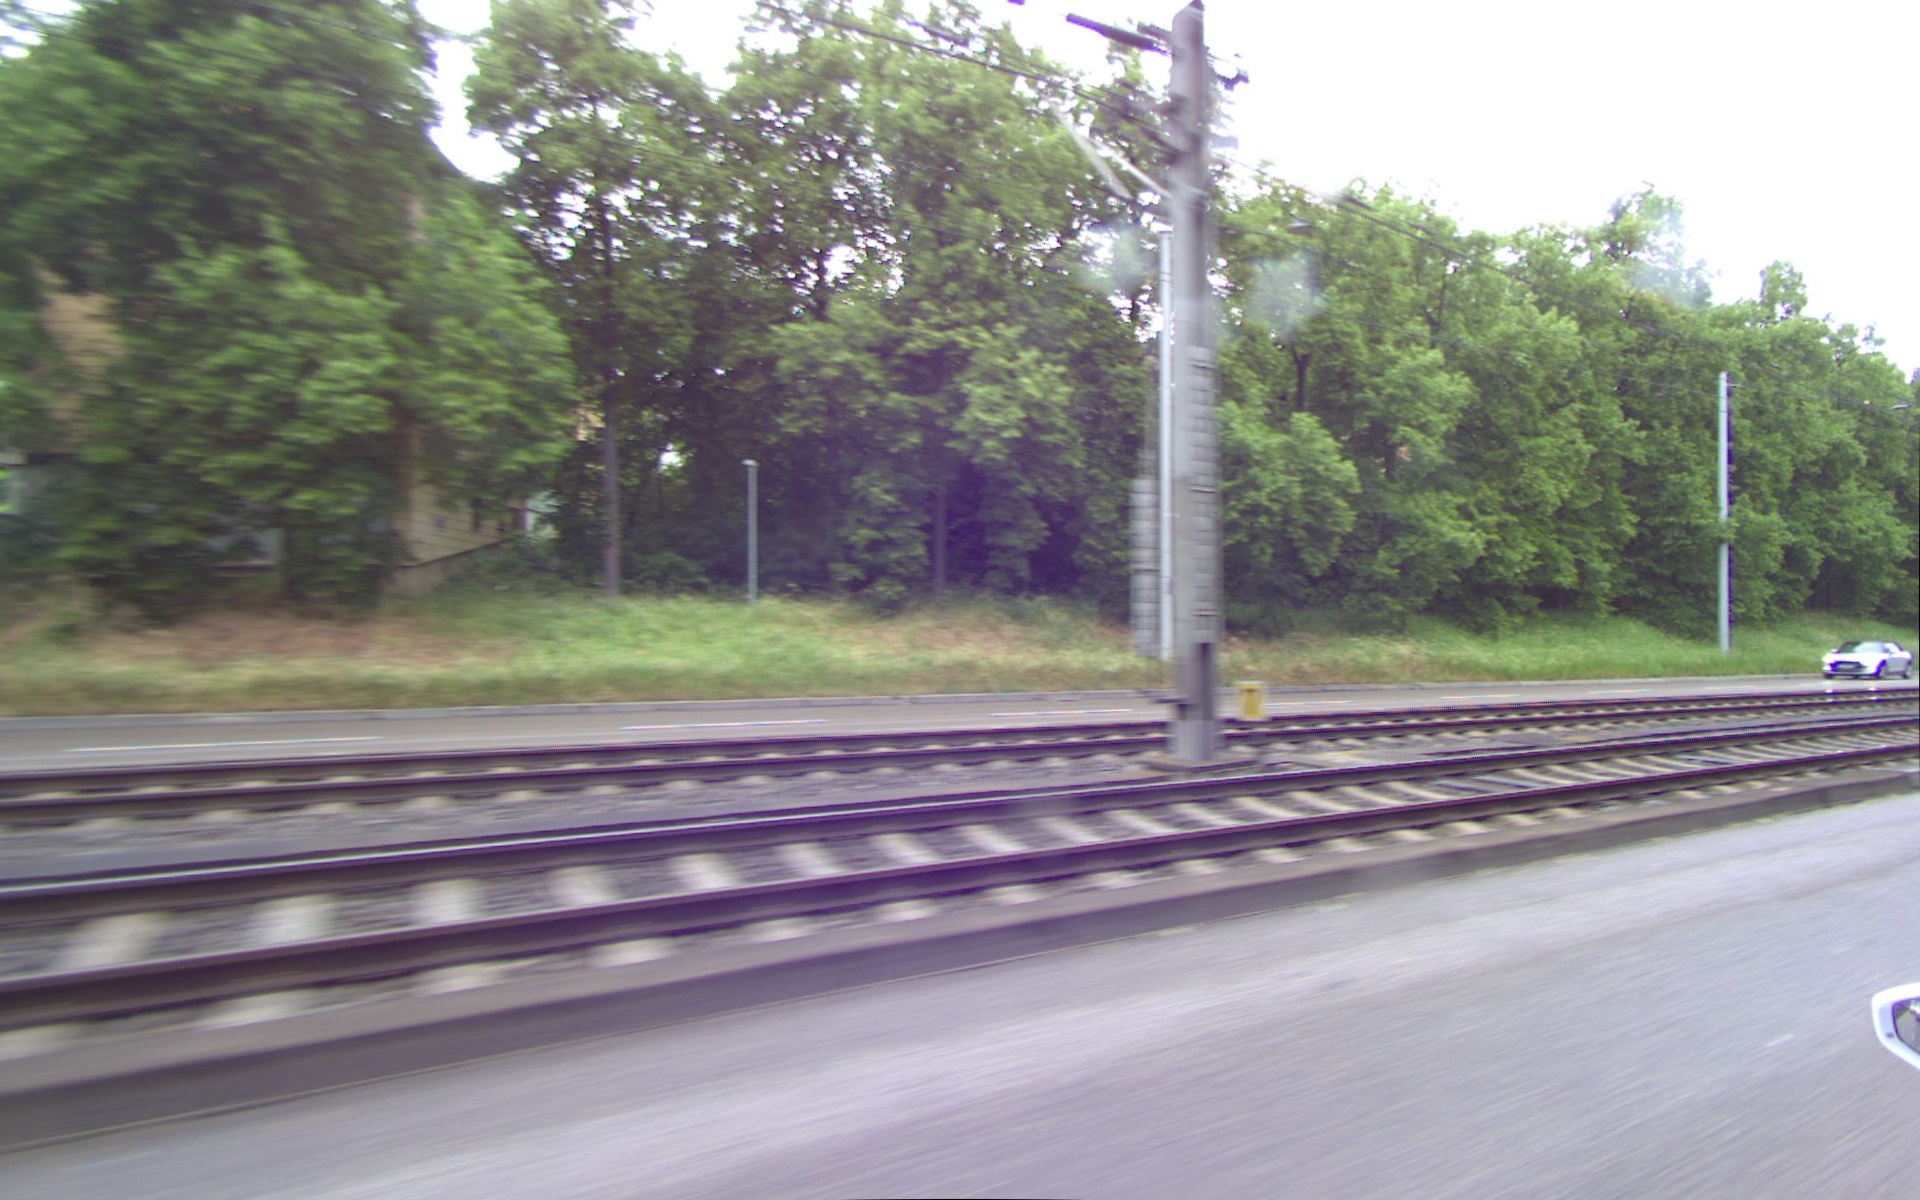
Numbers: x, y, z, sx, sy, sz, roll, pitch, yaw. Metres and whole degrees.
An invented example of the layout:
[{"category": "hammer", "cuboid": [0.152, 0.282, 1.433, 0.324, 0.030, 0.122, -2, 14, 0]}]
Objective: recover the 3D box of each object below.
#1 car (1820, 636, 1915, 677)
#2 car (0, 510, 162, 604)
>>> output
[{"category": "car", "cuboid": [33.641, 2.085, 37.210, 3.862, 1.454, 1.470, 2, -3, -30]}, {"category": "car", "cuboid": [-21.438, -0.965, 23.246, 4.145, 2.040, 1.962, 1, -1, -14]}]
